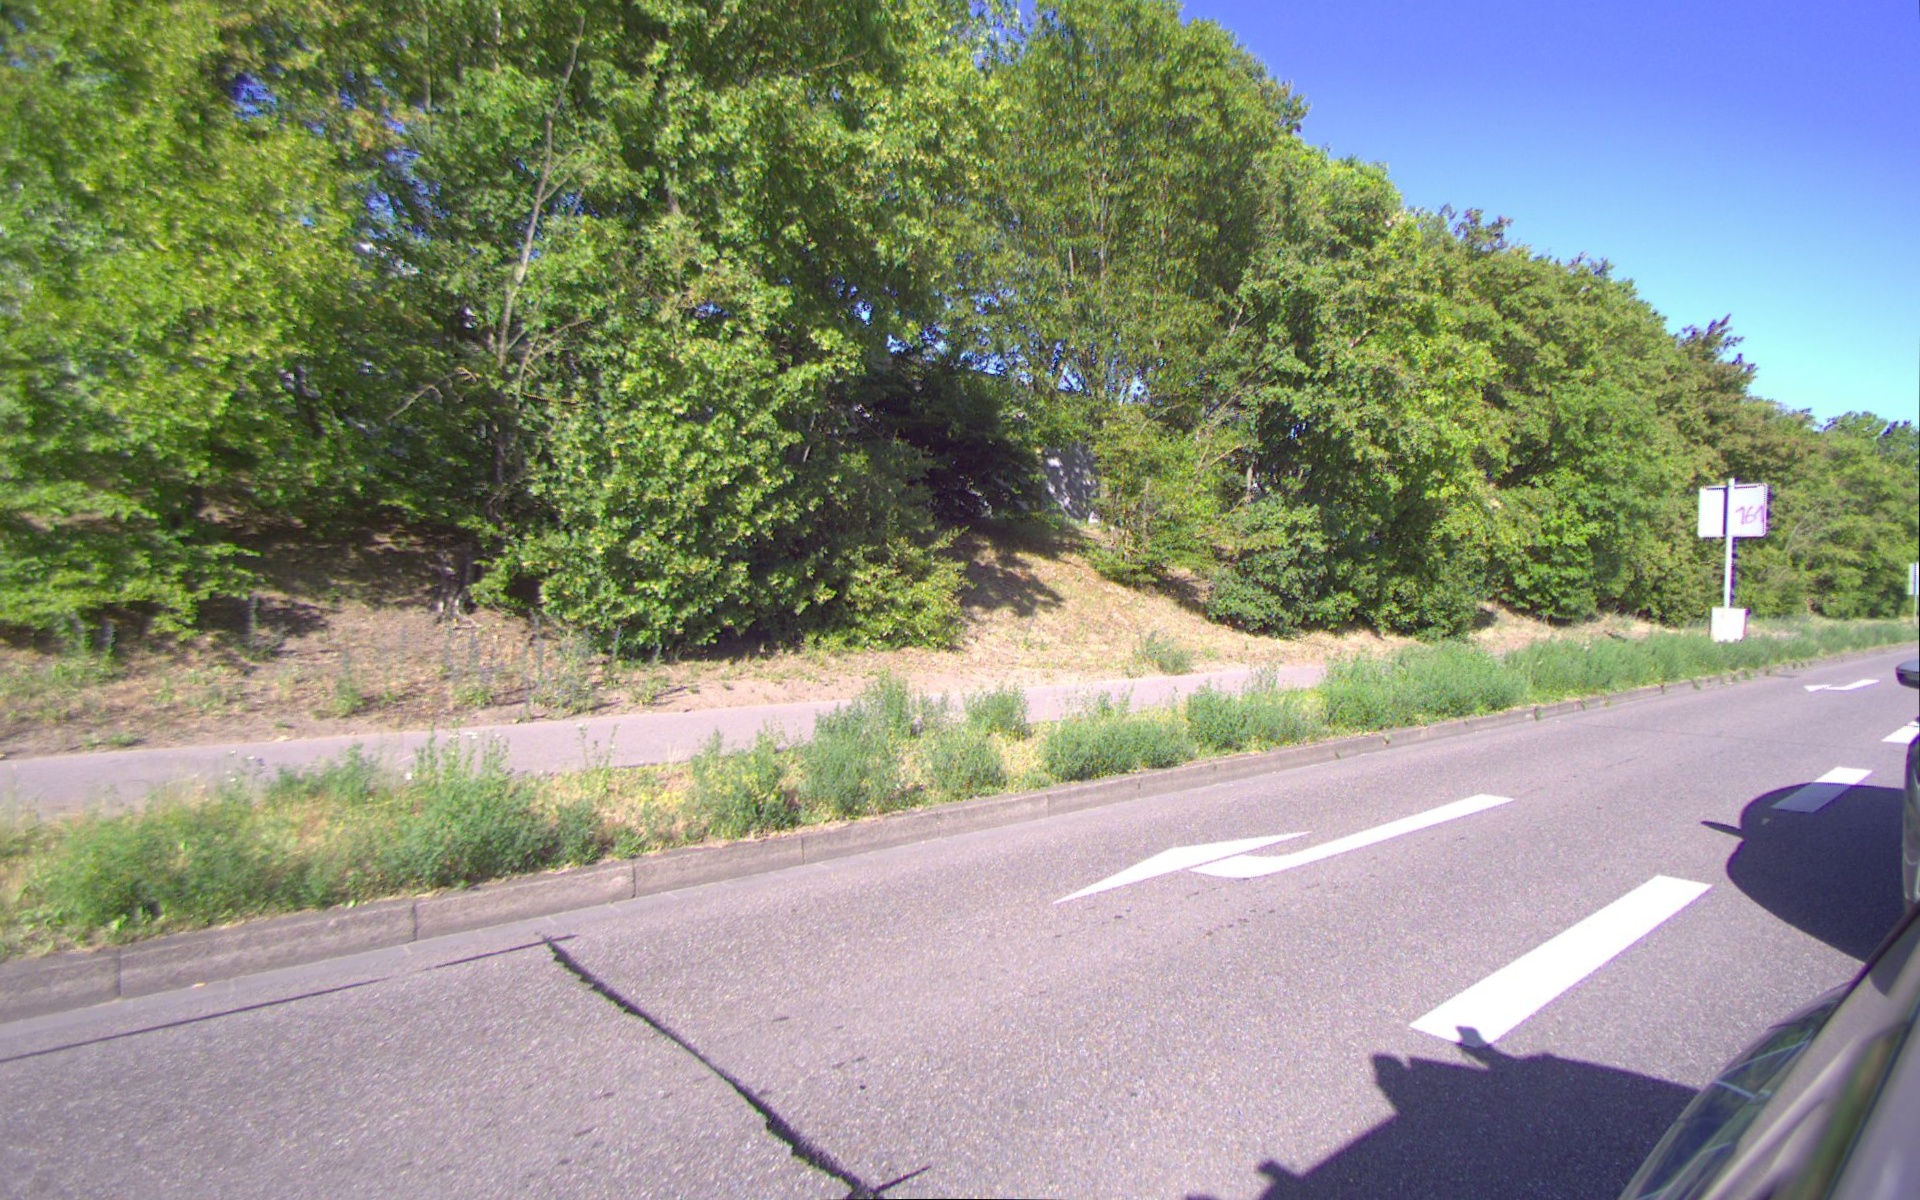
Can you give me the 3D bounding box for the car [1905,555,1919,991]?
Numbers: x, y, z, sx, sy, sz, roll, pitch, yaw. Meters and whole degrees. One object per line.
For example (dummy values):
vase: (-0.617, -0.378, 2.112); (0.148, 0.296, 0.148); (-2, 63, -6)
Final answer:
car: (5.599, 0.656, 4.336); (3.863, 1.617, 1.869); (0, 0, -41)
